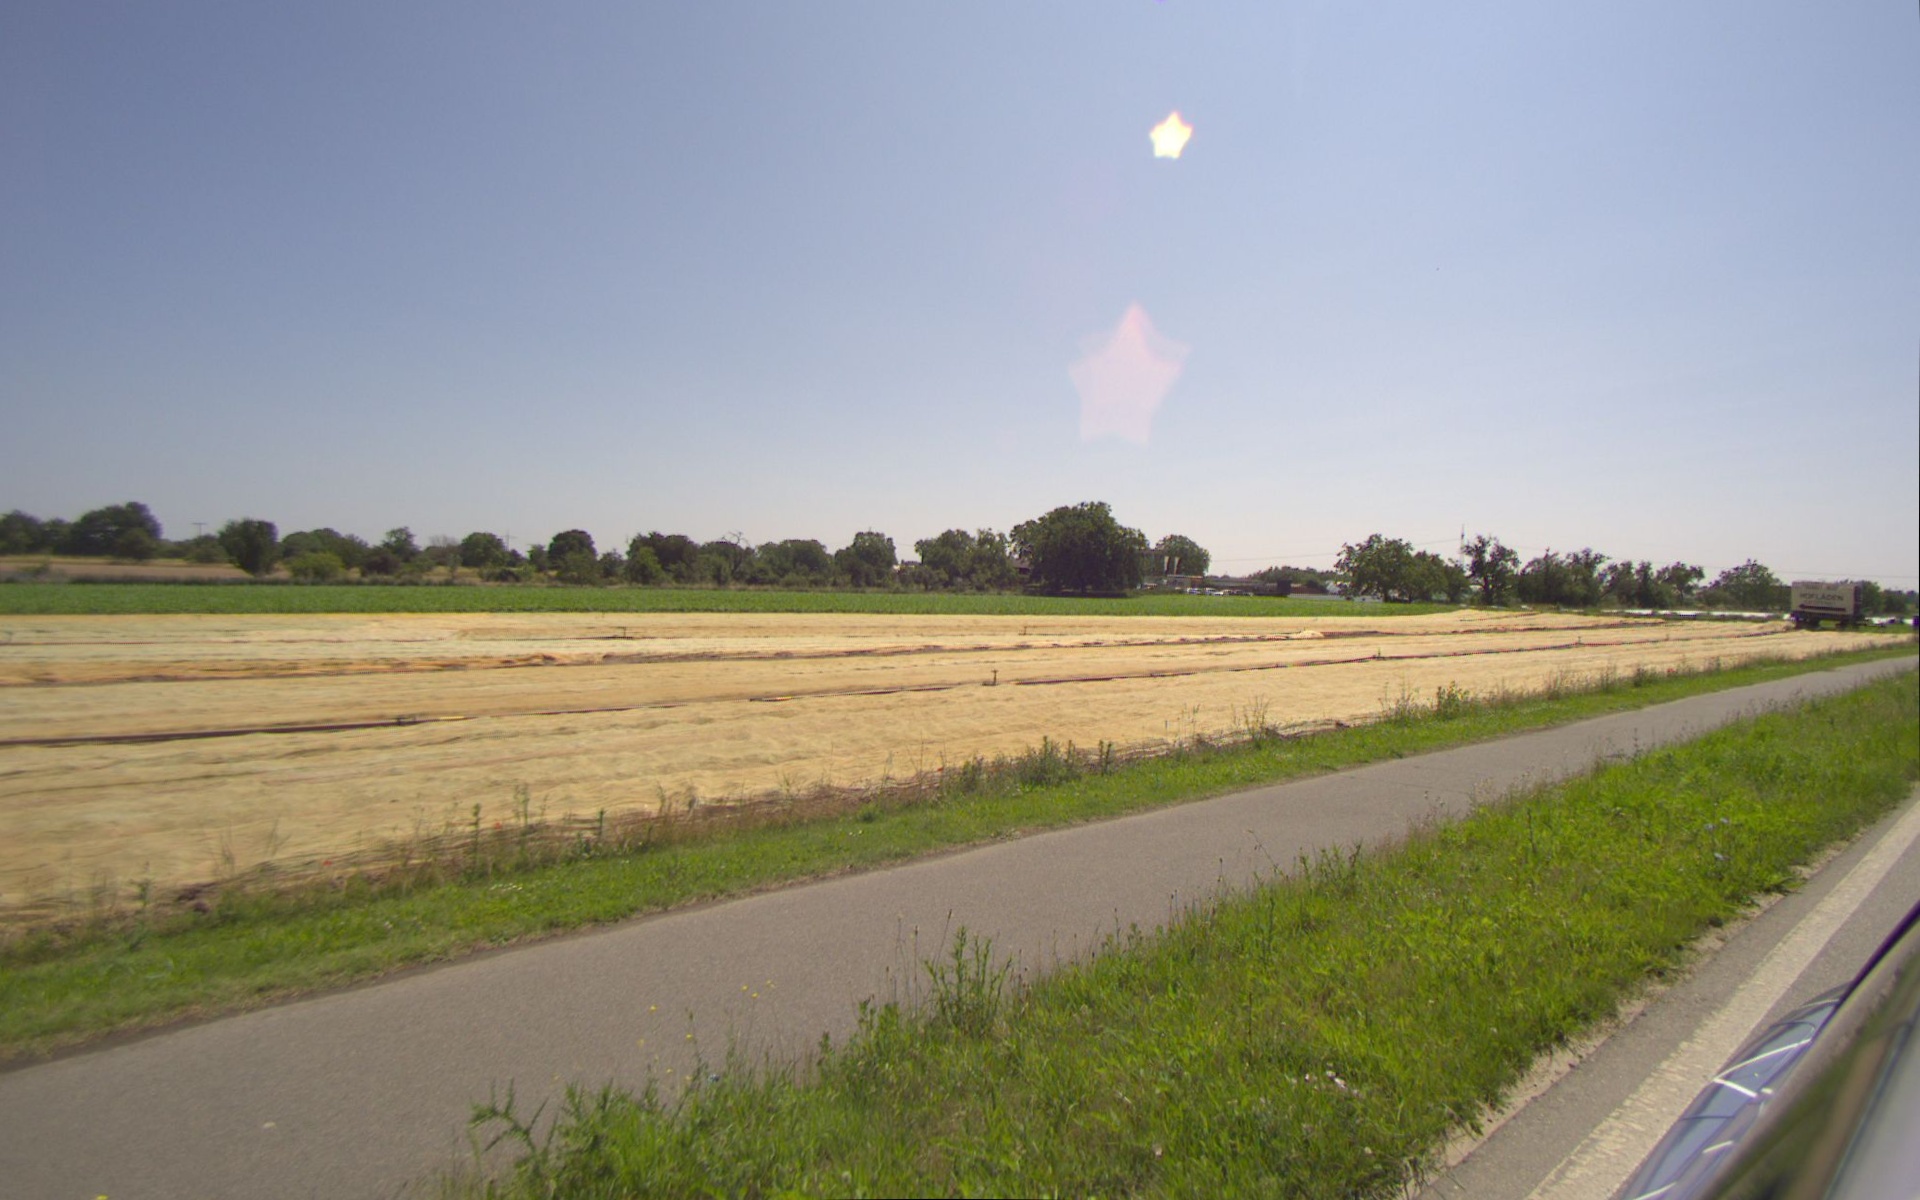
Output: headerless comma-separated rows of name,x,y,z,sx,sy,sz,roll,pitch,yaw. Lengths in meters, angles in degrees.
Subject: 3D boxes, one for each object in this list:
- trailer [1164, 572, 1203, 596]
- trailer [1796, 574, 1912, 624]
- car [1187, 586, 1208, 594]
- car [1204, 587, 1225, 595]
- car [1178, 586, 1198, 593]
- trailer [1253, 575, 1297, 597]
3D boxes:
trailer,41.633,-2.963,188.701,3.093,4.274,7.452,0,1,-28
trailer,57.805,-0.155,65.573,1.958,2.988,5.308,-1,2,-21
car,40.042,-1.695,170.673,3.211,1.213,1.299,1,1,-25
car,41.439,-1.459,164.808,3.211,1.213,1.299,1,1,-25
car,39.019,-1.812,173.384,3.211,1.213,1.299,1,1,-25
trailer,50.149,-2.216,161.324,3.191,3.335,7.457,0,1,-15
